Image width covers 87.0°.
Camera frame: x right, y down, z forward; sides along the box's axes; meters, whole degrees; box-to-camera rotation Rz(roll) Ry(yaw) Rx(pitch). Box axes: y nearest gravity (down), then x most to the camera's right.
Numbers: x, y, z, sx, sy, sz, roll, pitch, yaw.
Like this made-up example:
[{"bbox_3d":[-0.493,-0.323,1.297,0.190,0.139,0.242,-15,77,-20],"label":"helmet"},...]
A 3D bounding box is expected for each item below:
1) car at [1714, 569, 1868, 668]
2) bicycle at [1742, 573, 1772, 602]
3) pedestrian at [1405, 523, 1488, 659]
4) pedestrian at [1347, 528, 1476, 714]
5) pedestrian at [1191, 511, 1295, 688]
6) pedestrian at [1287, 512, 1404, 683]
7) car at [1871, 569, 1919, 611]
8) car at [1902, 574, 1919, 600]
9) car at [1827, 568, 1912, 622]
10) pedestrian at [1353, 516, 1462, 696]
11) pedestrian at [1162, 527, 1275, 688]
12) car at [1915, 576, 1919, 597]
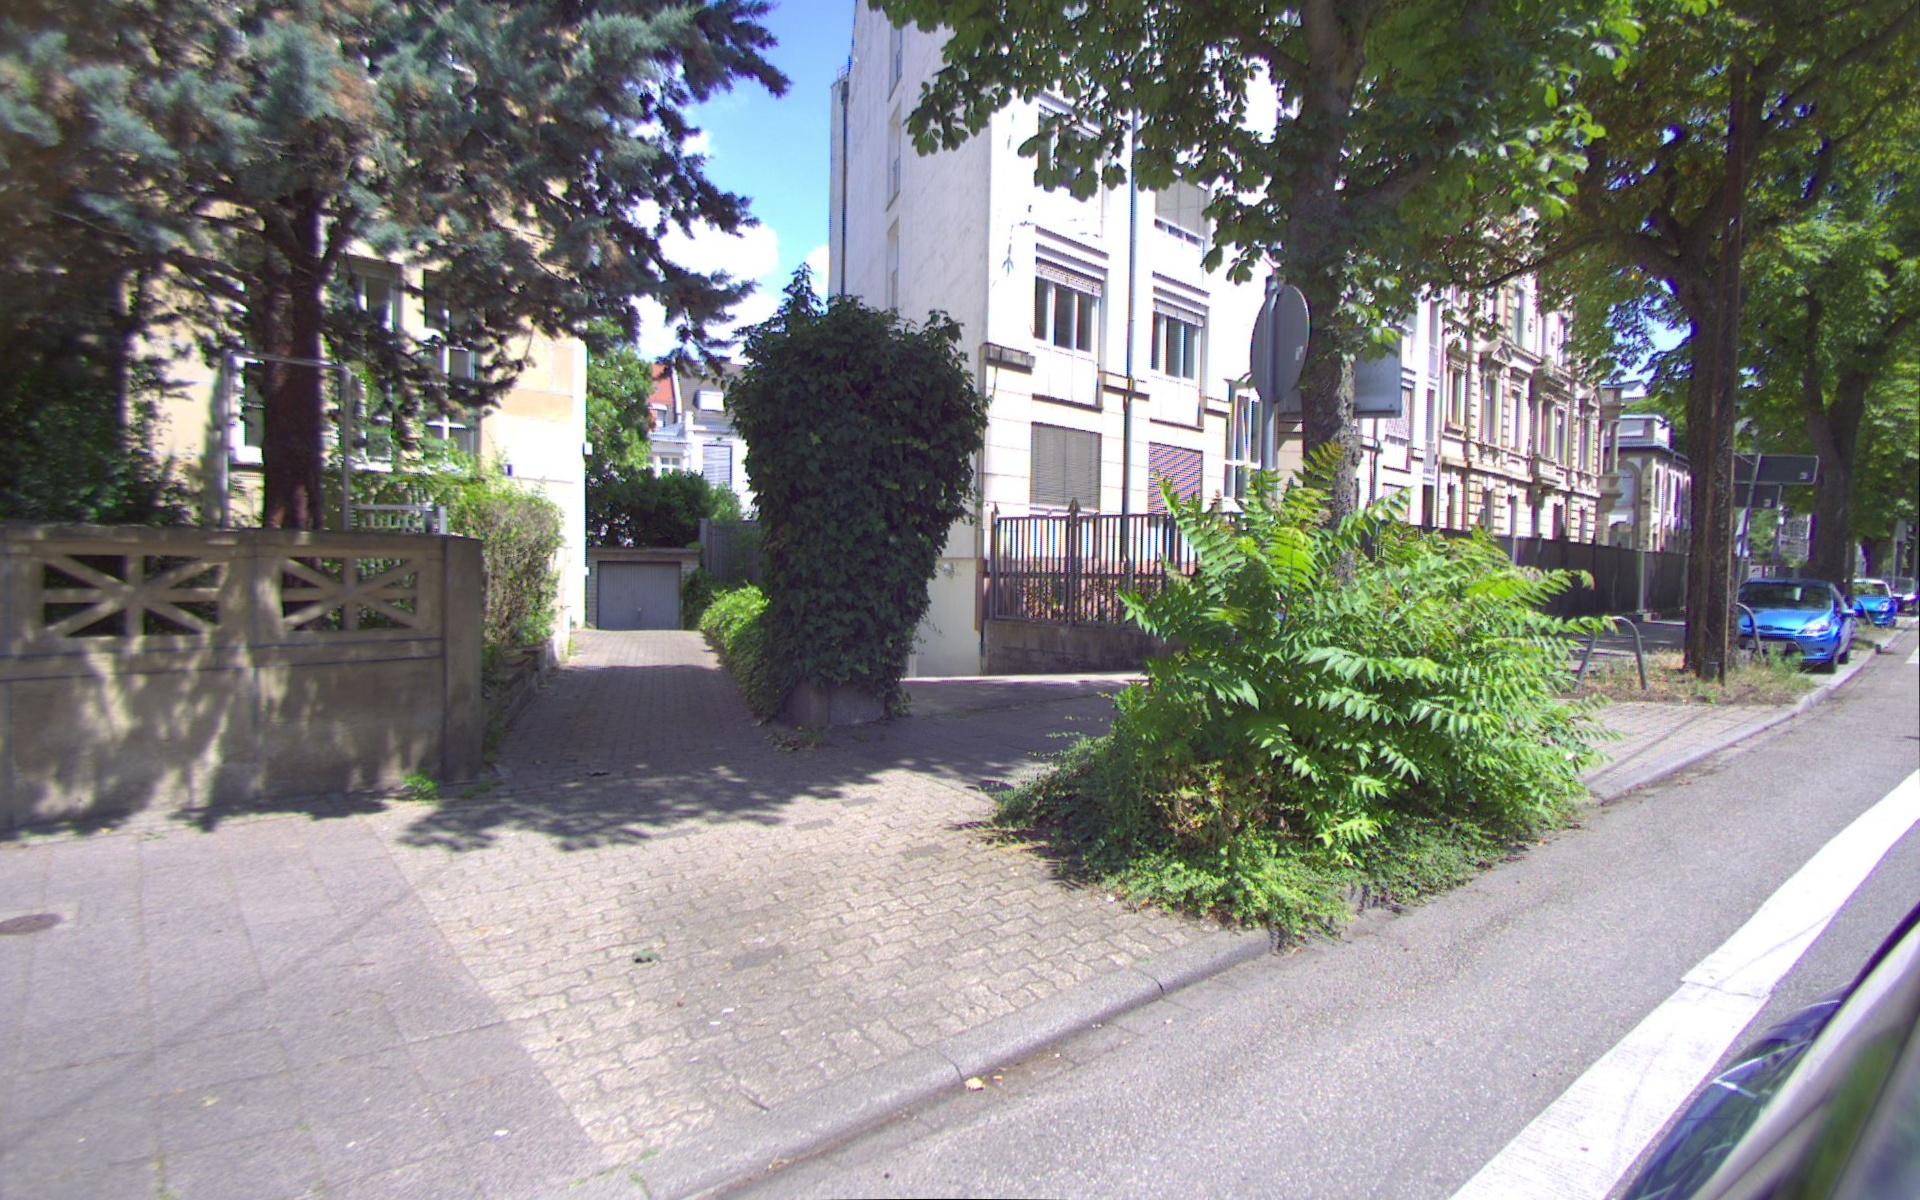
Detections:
[{"bbox_3d":[14.198,0.227,17.227,1.678,1.461,3.661,3,3,45],"label":"car"},{"bbox_3d":[30.835,-0.508,39.150,1.947,1.084,0.608,-1,3,-43],"label":"bicycle"},{"bbox_3d":[6.813,-0.143,14.170,1.066,1.819,0.685,-1,3,-45],"label":"pedestrian"},{"bbox_3d":[4.318,0.165,9.674,0.957,1.671,0.767,-1,3,-43],"label":"pedestrian"},{"bbox_3d":[3.104,-0.026,11.087,0.961,1.834,0.661,-1,3,-44],"label":"pedestrian"},{"bbox_3d":[4.252,-0.049,11.160,1.034,1.783,0.788,-1,3,-43],"label":"pedestrian"},{"bbox_3d":[40.138,-0.436,43.035,4.017,1.635,1.732,-1,5,-44],"label":"car"},{"bbox_3d":[55.805,-0.742,58.557,3.761,1.419,1.624,-1,5,-45],"label":"car"},{"bbox_3d":[27.047,-0.196,30.079,1.692,1.470,3.418,3,3,45],"label":"car"},{"bbox_3d":[4.746,0.039,10.727,0.931,1.798,0.705,-1,2,-43],"label":"pedestrian"},{"bbox_3d":[2.816,0.052,11.037,0.823,1.665,0.857,-1,3,-45],"label":"pedestrian"},{"bbox_3d":[69.200,-0.925,71.987,3.935,1.419,1.624,-1,5,-45],"label":"car"}]
